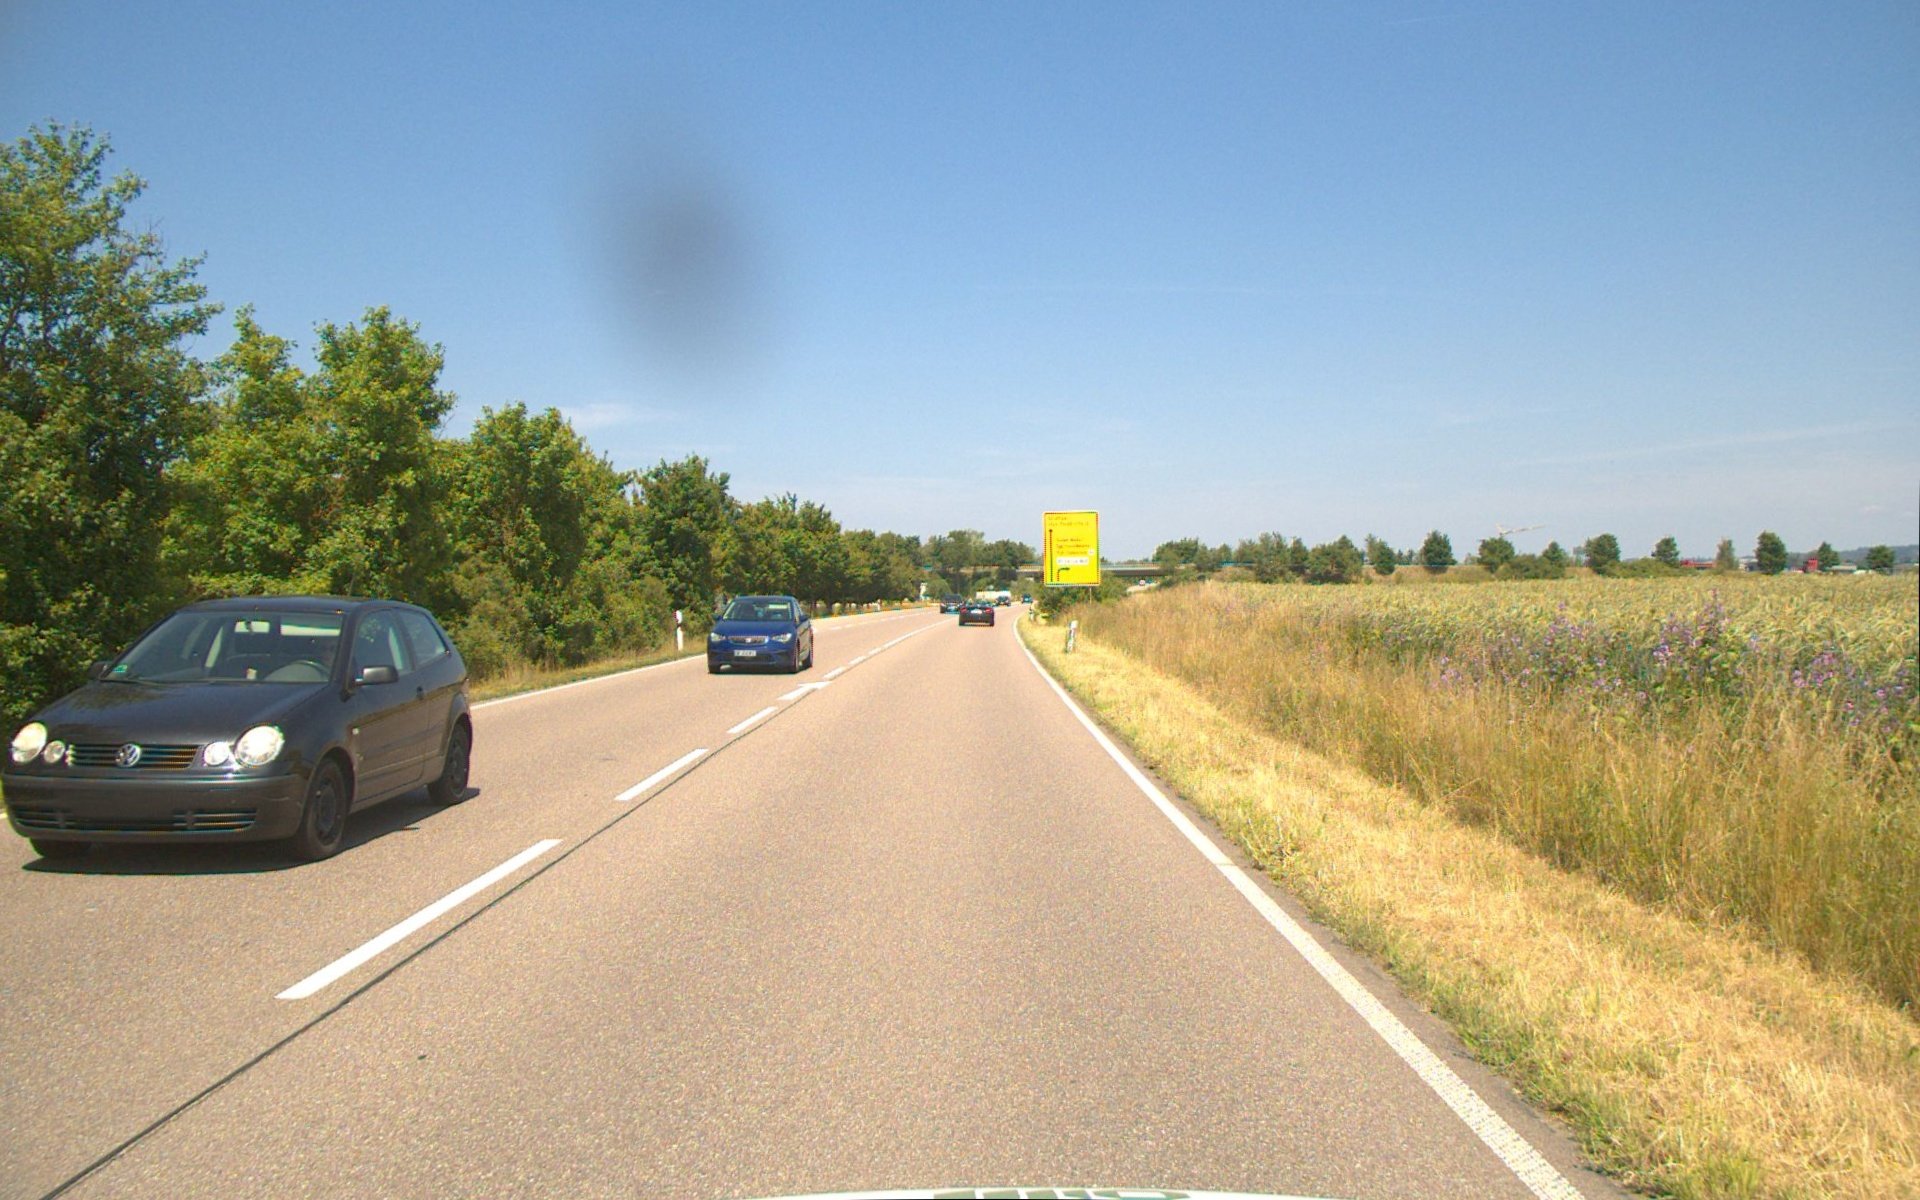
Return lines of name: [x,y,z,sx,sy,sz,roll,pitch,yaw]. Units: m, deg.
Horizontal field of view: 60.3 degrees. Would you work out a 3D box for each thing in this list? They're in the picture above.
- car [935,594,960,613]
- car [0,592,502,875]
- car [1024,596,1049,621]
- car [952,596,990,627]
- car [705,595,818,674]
car: [-0.960,0.242,129.797,1.744,1.445,4.535,1,0,1]
car: [-4.251,0.693,10.588,1.565,1.467,3.999,0,0,-1]
car: [6.344,0.729,137.268,1.711,2.049,3.999,1,-1,-1]
car: [0.547,0.566,81.704,1.777,1.466,4.000,1,0,0]
car: [-3.842,0.632,32.590,1.618,1.431,4.001,1,0,2]
